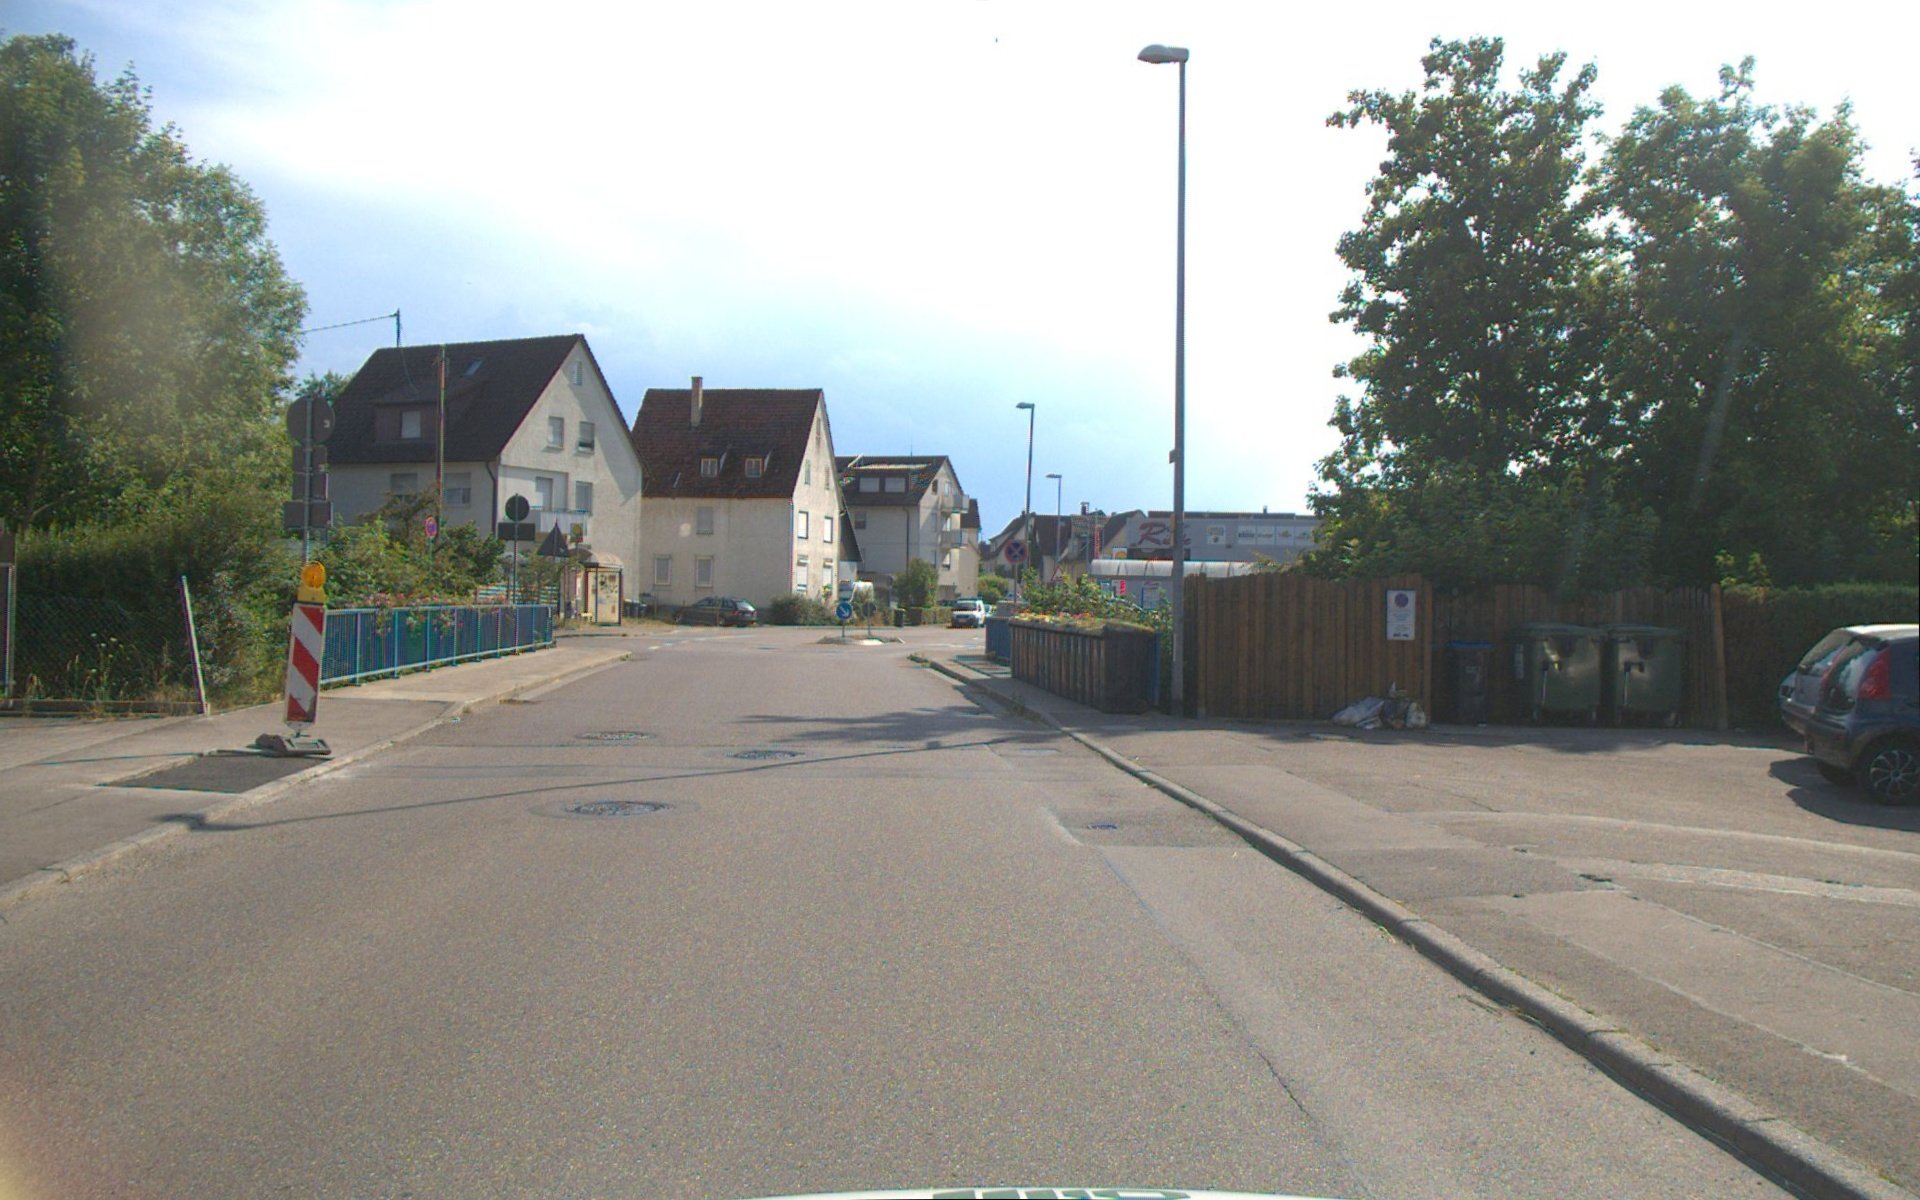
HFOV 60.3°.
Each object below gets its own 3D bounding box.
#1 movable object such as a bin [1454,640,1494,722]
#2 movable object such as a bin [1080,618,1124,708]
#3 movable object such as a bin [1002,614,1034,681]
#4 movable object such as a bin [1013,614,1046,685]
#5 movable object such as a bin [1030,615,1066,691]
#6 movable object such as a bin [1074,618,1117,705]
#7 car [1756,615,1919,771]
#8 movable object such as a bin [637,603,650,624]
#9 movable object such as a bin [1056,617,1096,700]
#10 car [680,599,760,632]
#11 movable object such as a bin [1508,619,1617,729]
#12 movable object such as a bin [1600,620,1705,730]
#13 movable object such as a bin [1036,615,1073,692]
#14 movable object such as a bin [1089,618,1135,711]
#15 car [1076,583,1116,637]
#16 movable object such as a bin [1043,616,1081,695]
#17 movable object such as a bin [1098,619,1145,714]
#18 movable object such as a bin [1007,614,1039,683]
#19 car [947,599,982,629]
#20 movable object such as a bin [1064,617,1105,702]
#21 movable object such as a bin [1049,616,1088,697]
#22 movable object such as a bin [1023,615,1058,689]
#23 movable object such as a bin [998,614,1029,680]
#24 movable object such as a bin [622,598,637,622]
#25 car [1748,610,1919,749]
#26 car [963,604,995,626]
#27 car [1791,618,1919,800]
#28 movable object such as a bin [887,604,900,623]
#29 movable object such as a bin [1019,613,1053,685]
[{"bbox_3d":[6.836,1.071,22.008,0.422,1.063,0.442,1,0,7],"label":"movable object such as a bin"},{"bbox_3d":[1.876,0.824,21.847,0.469,1.163,0.542,1,0,-6],"label":"movable object such as a bin"},{"bbox_3d":[1.018,0.834,29.133,0.469,1.163,0.538,1,0,-6],"label":"movable object such as a bin"},{"bbox_3d":[1.166,0.833,27.963,0.469,1.163,0.538,1,0,-6],"label":"movable object such as a bin"},{"bbox_3d":[1.382,0.830,26.089,0.469,1.163,0.538,1,0,-6],"label":"movable object such as a bin"},{"bbox_3d":[1.830,0.826,22.411,0.469,1.163,0.538,1,0,-6],"label":"movable object such as a bin"},{"bbox_3d":[10.002,0.947,16.880,3.060,1.476,1.578,2,1,12],"label":"car"},{"bbox_3d":[-14.443,0.633,75.465,0.354,0.941,0.399,1,-2,25],"label":"movable object such as a bin"},{"bbox_3d":[1.663,0.837,23.710,0.469,1.163,0.538,1,0,-6],"label":"movable object such as a bin"},{"bbox_3d":[-12.066,0.783,83.117,3.921,1.458,1.646,3,1,37],"label":"car"},{"bbox_3d":[7.976,0.965,21.942,1.127,1.360,1.046,2,0,7],"label":"movable object such as a bin"},{"bbox_3d":[9.141,0.975,21.871,1.018,1.360,1.005,2,0,7],"label":"movable object such as a bin"},{"bbox_3d":[1.454,0.819,25.487,0.469,1.163,0.564,1,0,-6],"label":"movable object such as a bin"},{"bbox_3d":[1.955,0.824,21.288,0.469,1.163,0.538,1,0,-6],"label":"movable object such as a bin"},{"bbox_3d":[6.413,0.449,77.703,1.797,2.416,5.181,1,0,5],"label":"car"},{"bbox_3d":[1.529,0.829,24.874,0.469,1.163,0.538,1,0,-6],"label":"movable object such as a bin"},{"bbox_3d":[2.017,0.823,20.730,0.469,1.163,0.538,1,0,-6],"label":"movable object such as a bin"},{"bbox_3d":[1.090,0.834,28.560,0.469,1.163,0.538,1,0,-6],"label":"movable object such as a bin"},{"bbox_3d":[0.317,0.903,107.801,1.680,1.905,4.195,0,0,9],"label":"car"},{"bbox_3d":[1.735,0.826,23.098,0.469,1.163,0.538,1,0,-6],"label":"movable object such as a bin"},{"bbox_3d":[1.597,0.828,24.284,0.469,1.163,0.538,1,0,-6],"label":"movable object such as a bin"},{"bbox_3d":[1.298,0.831,26.702,0.469,1.163,0.538,1,0,-6],"label":"movable object such as a bin"},{"bbox_3d":[0.951,0.835,29.709,0.469,1.163,0.538,1,0,-6],"label":"movable object such as a bin"},{"bbox_3d":[-14.860,0.464,74.385,0.354,1.059,0.557,1,-2,25],"label":"movable object such as a bin"},{"bbox_3d":[11.292,0.920,19.066,3.663,1.476,1.638,2,1,12],"label":"car"},{"bbox_3d":[1.308,0.999,112.172,1.637,1.477,3.837,1,0,9],"label":"car"},{"bbox_3d":[9.169,0.958,14.388,3.140,1.476,1.651,2,1,14],"label":"car"},{"bbox_3d":[-3.898,0.786,97.166,0.598,1.120,0.576,2,-1,9],"label":"movable object such as a bin"},{"bbox_3d":[1.248,0.801,27.324,0.469,1.163,0.538,1,0,-6],"label":"movable object such as a bin"}]
